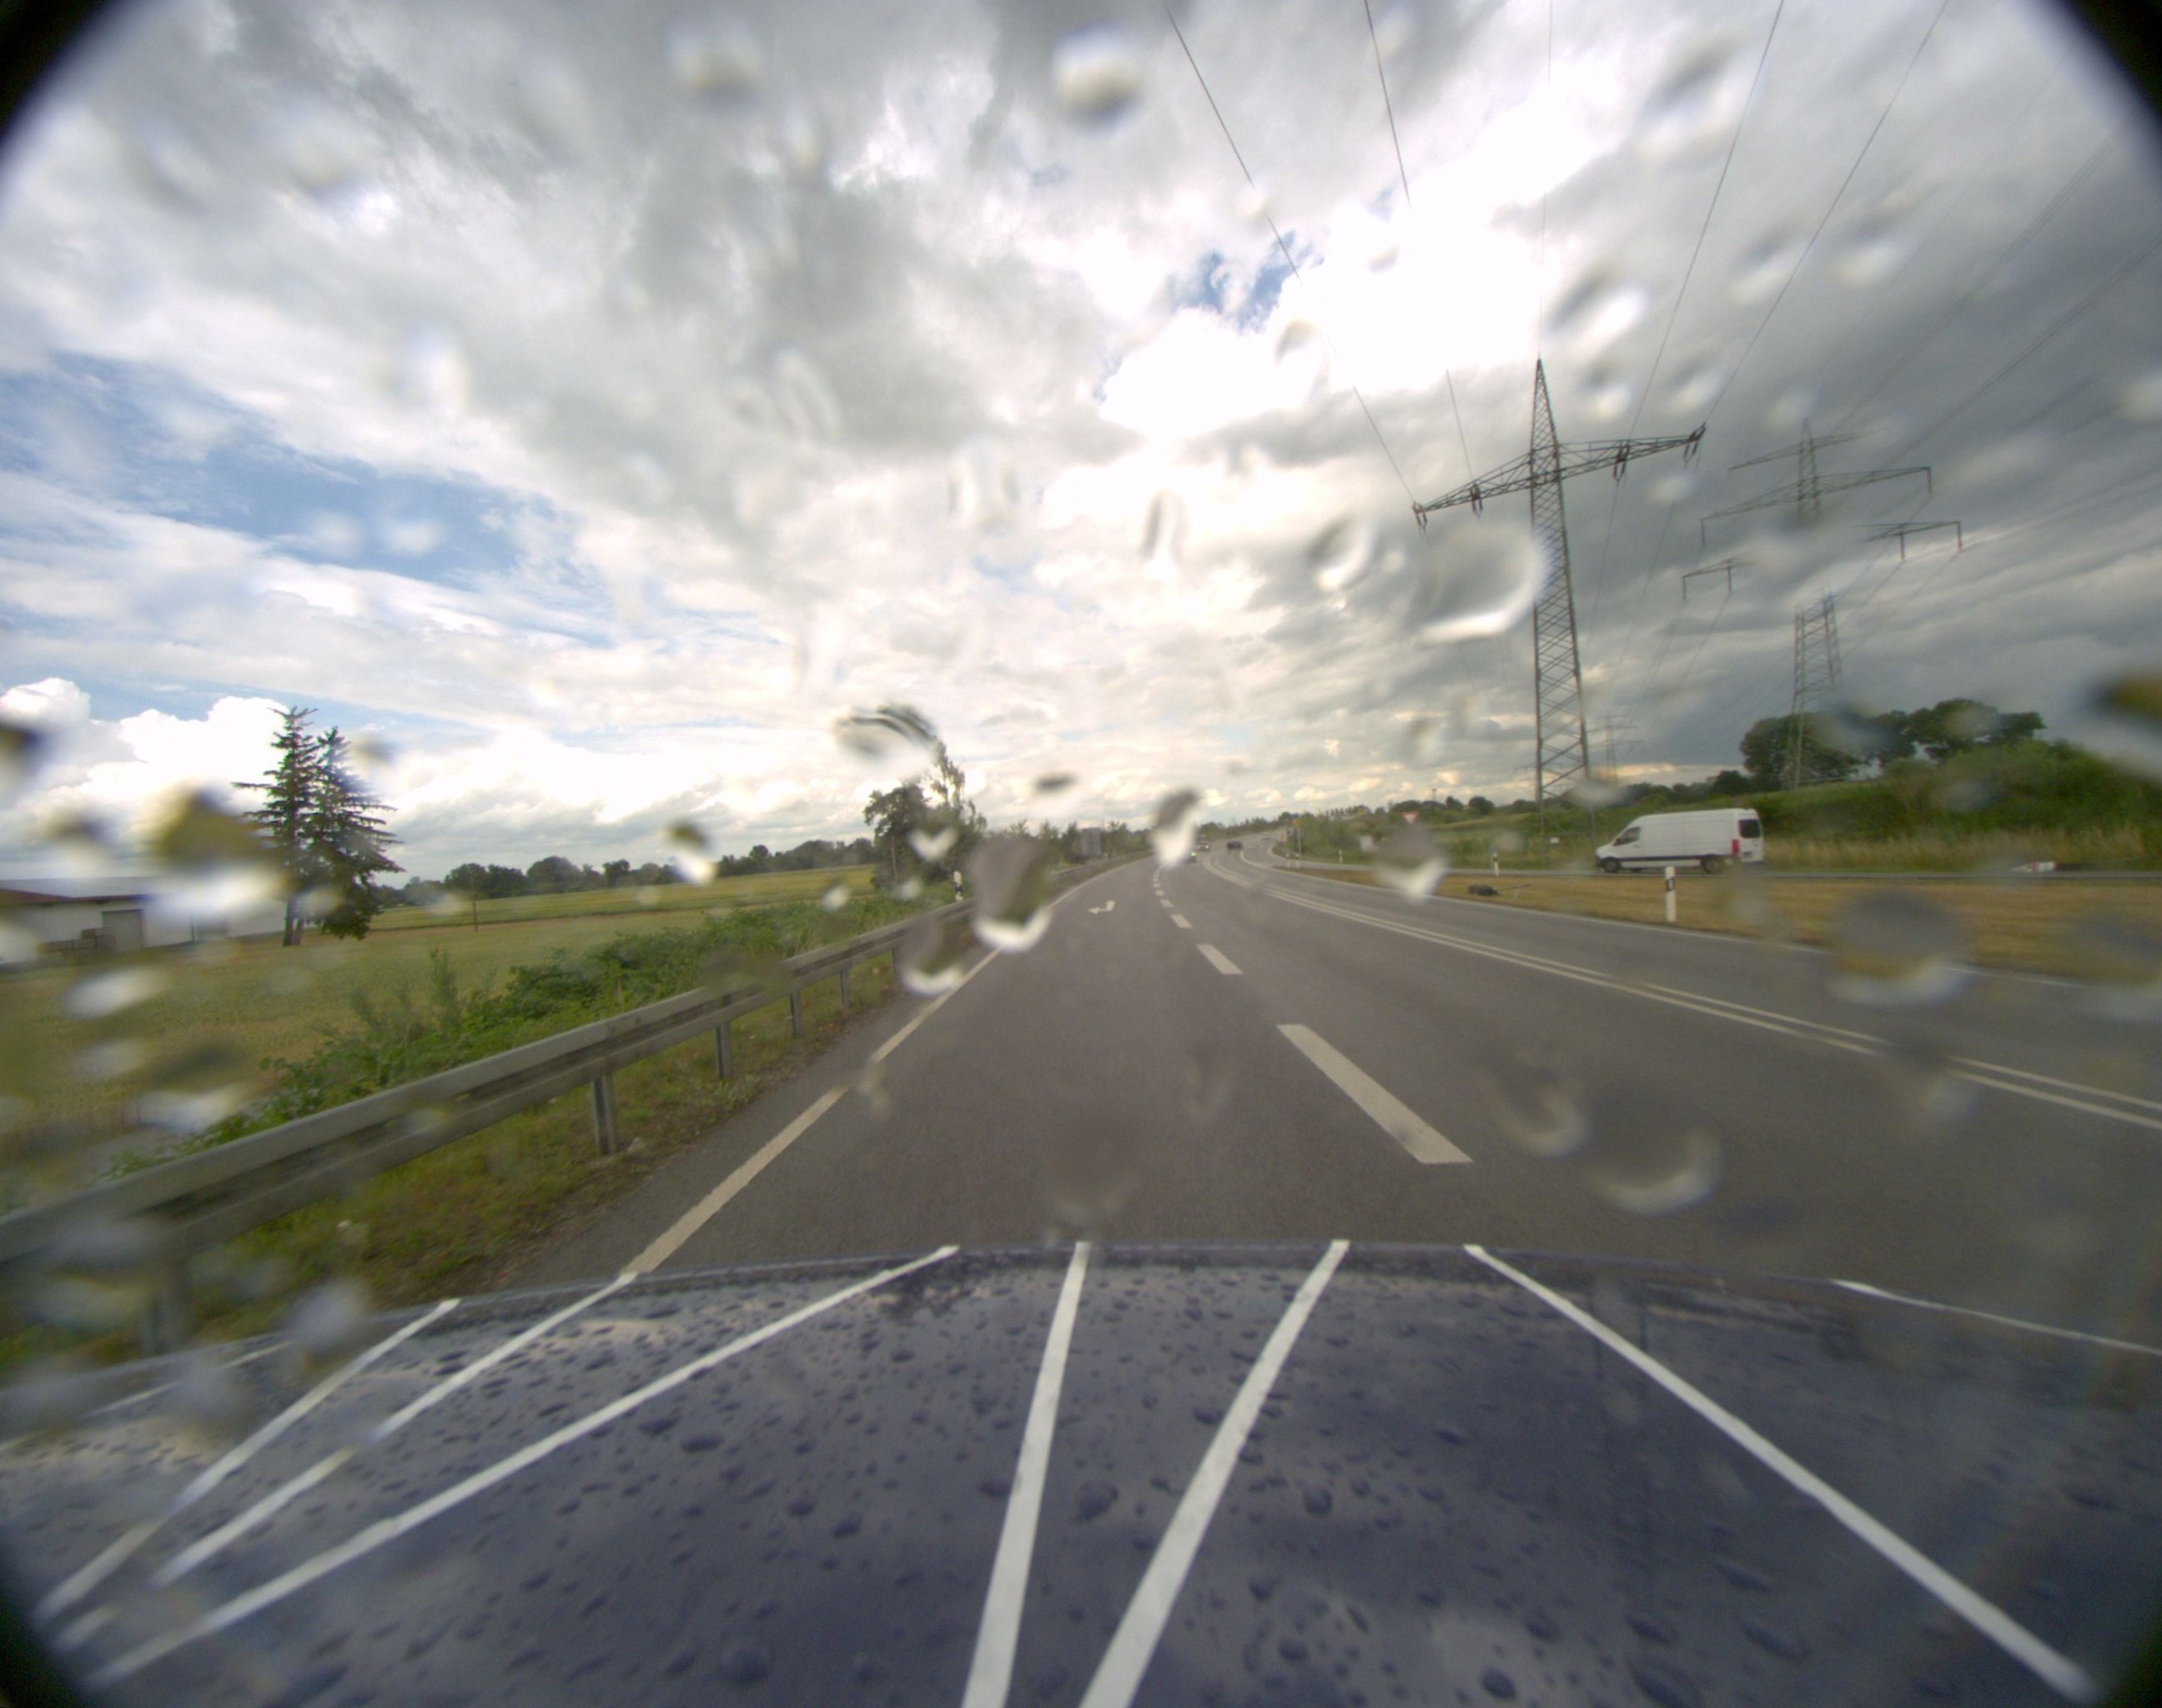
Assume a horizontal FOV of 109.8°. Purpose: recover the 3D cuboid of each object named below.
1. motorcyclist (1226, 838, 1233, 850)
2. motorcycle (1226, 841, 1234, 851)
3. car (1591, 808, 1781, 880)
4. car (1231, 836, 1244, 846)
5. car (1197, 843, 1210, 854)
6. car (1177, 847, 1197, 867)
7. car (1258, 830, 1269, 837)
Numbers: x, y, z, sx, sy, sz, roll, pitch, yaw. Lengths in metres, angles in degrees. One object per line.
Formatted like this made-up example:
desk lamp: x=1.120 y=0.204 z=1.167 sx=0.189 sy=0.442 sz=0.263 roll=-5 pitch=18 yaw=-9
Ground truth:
motorcyclist: x=20.393 y=-1.383 z=104.033 sx=0.803 sy=1.526 sz=0.825 roll=-2 pitch=1 yaw=16
motorcycle: x=20.397 y=-1.093 z=104.035 sx=0.803 sy=1.231 sz=2.187 roll=-2 pitch=1 yaw=16
car: x=25.830 y=-0.421 z=32.776 sx=2.217 sy=2.734 sz=6.008 roll=-4 pitch=2 yaw=-25
car: x=25.112 y=-2.118 z=122.234 sx=1.803 sy=1.585 sz=4.227 roll=-2 pitch=1 yaw=10
car: x=19.104 y=-0.881 z=118.300 sx=1.747 sy=1.488 sz=4.053 roll=-3 pitch=1 yaw=11
car: x=10.377 y=0.289 z=74.398 sx=1.795 sy=1.758 sz=4.002 roll=-1 pitch=1 yaw=8
car: x=42.148 y=-4.753 z=175.285 sx=1.706 sy=1.472 sz=4.616 roll=-1 pitch=2 yaw=24
